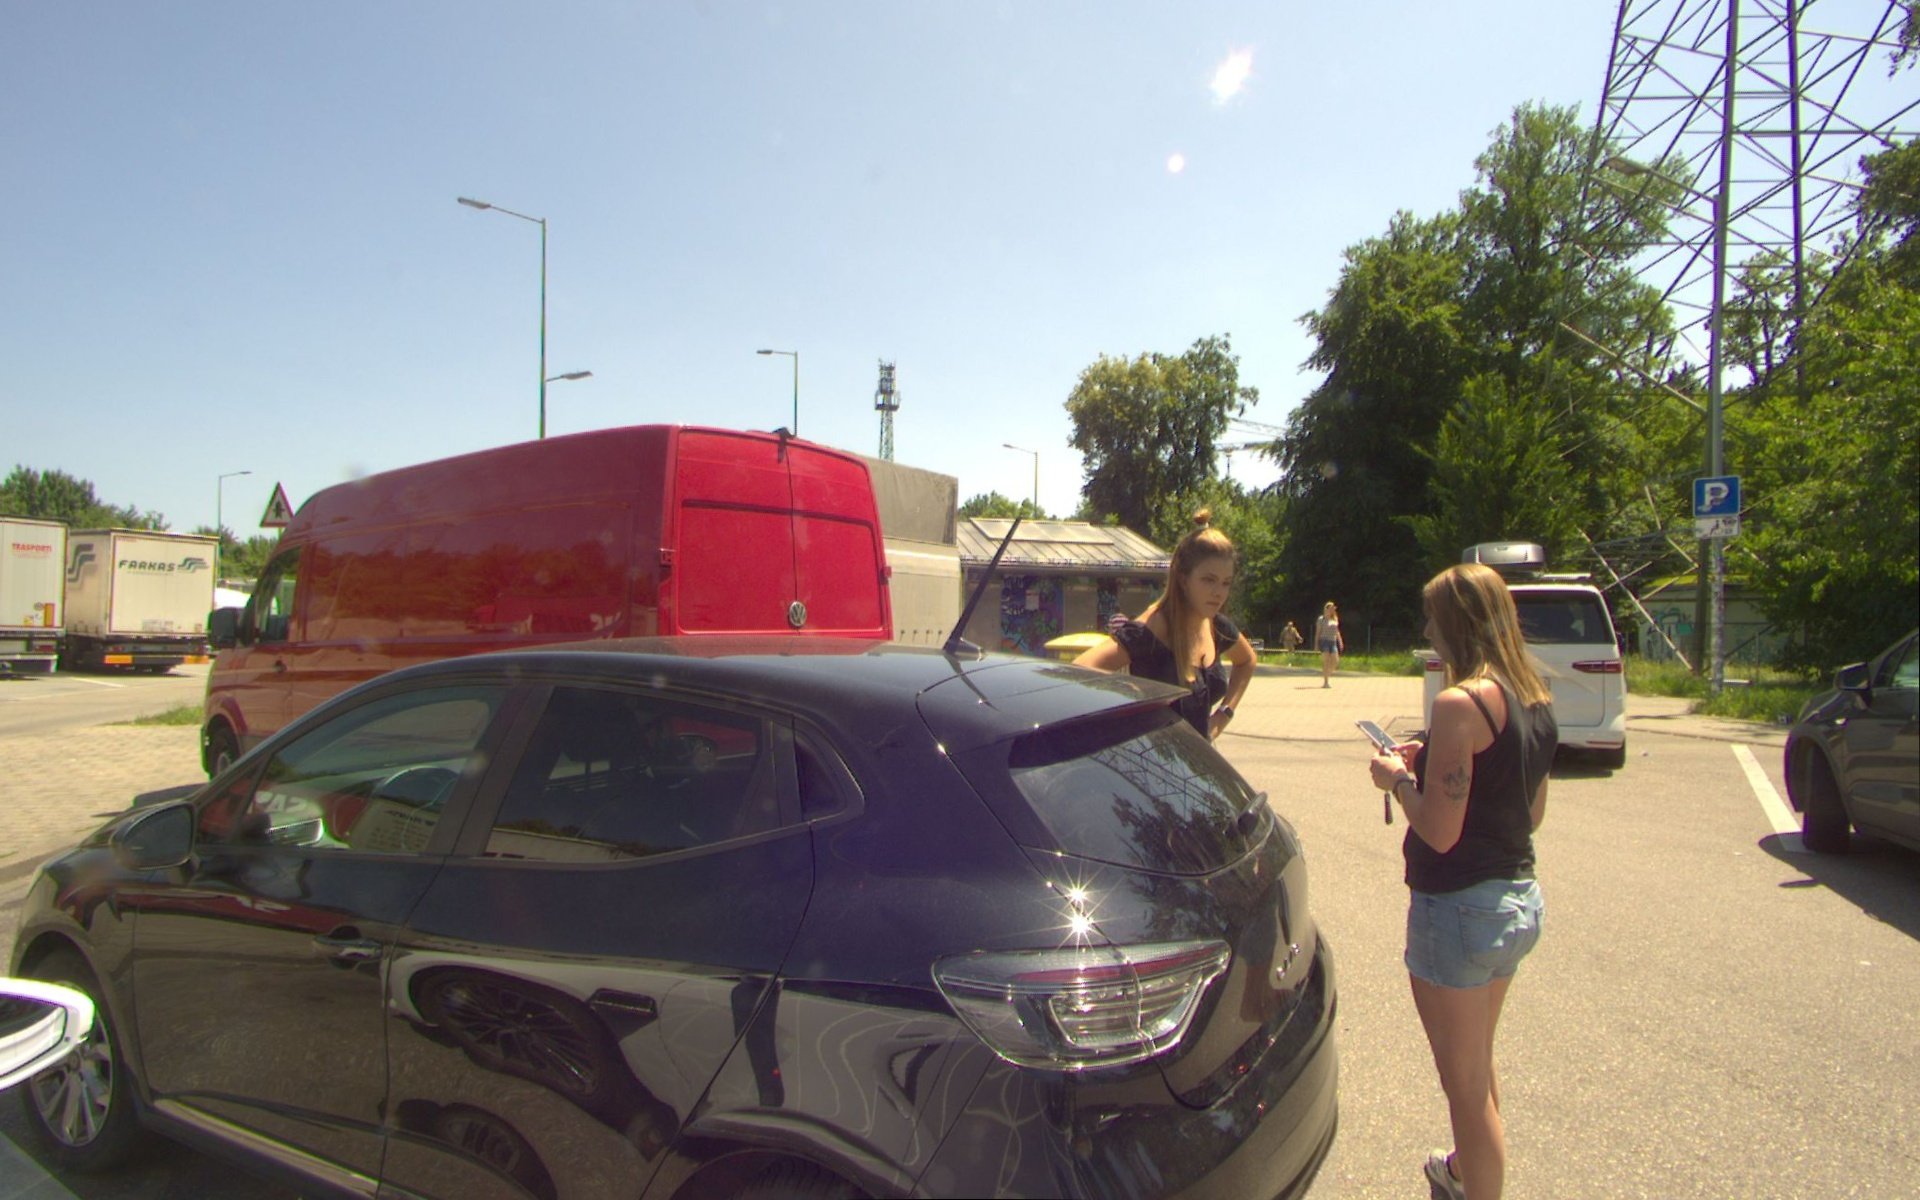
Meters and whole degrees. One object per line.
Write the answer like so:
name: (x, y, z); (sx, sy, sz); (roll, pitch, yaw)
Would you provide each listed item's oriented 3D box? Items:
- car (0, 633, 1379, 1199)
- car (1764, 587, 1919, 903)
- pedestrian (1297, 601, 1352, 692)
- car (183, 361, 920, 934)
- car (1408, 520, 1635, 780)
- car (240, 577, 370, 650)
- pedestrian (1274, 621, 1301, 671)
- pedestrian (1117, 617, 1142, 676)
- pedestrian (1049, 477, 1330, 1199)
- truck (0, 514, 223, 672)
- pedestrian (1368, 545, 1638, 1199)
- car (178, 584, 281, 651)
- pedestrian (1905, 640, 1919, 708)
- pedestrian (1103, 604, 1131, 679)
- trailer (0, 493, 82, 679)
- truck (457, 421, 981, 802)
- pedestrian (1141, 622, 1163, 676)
car: (-0.854, 0.838, 2.788); (3.627, 1.476, 1.776); (-1, -2, 27)
car: (5.824, 0.755, 4.871); (1.807, 1.638, 4.159); (1, -1, 22)
pedestrian: (7.780, 0.989, 21.387); (0.762, 1.903, 0.840); (0, -1, -11)
car: (-3.382, 0.249, 7.340); (6.298, 2.668, 1.988); (0, -1, 36)
car: (6.612, 0.523, 11.904); (1.901, 2.401, 4.954); (1, -1, 29)
car: (-29.456, 0.600, 44.952); (6.259, 3.114, 2.495); (0, -1, 32)
pedestrian: (13.583, 1.910, 41.537); (0.955, 2.039, 0.829); (0, -1, 10)
pedestrian: (4.343, 1.183, 25.620); (0.521, 1.478, 0.576); (0, 0, 23)
pedestrian: (0.736, 0.637, 3.086); (0.481, 1.884, 0.906); (0, -1, 39)
truck: (-27.123, -0.025, 31.229); (11.800, 4.279, 2.582); (-1, -2, 32)
pedestrian: (1.218, 0.707, 2.275); (0.478, 1.615, 0.501); (0, 0, 29)
car: (-29.927, 0.753, 41.035); (3.943, 2.632, 2.111); (-1, -2, 32)
pedestrian: (17.121, 1.297, 17.450); (0.694, 1.178, 0.787); (-1, -1, 22)
pedestrian: (3.818, 1.006, 24.307); (0.520, 1.783, 0.651); (0, 0, 23)
trailer: (-28.592, -0.342, 27.877); (12.642, 4.511, 2.677); (0, -1, 32)
truck: (-2.458, 0.170, 9.908); (4.751, 2.863, 2.514); (-1, -2, 34)
pedestrian: (4.866, 1.233, 25.356); (0.439, 1.362, 0.477); (0, 0, 23)
